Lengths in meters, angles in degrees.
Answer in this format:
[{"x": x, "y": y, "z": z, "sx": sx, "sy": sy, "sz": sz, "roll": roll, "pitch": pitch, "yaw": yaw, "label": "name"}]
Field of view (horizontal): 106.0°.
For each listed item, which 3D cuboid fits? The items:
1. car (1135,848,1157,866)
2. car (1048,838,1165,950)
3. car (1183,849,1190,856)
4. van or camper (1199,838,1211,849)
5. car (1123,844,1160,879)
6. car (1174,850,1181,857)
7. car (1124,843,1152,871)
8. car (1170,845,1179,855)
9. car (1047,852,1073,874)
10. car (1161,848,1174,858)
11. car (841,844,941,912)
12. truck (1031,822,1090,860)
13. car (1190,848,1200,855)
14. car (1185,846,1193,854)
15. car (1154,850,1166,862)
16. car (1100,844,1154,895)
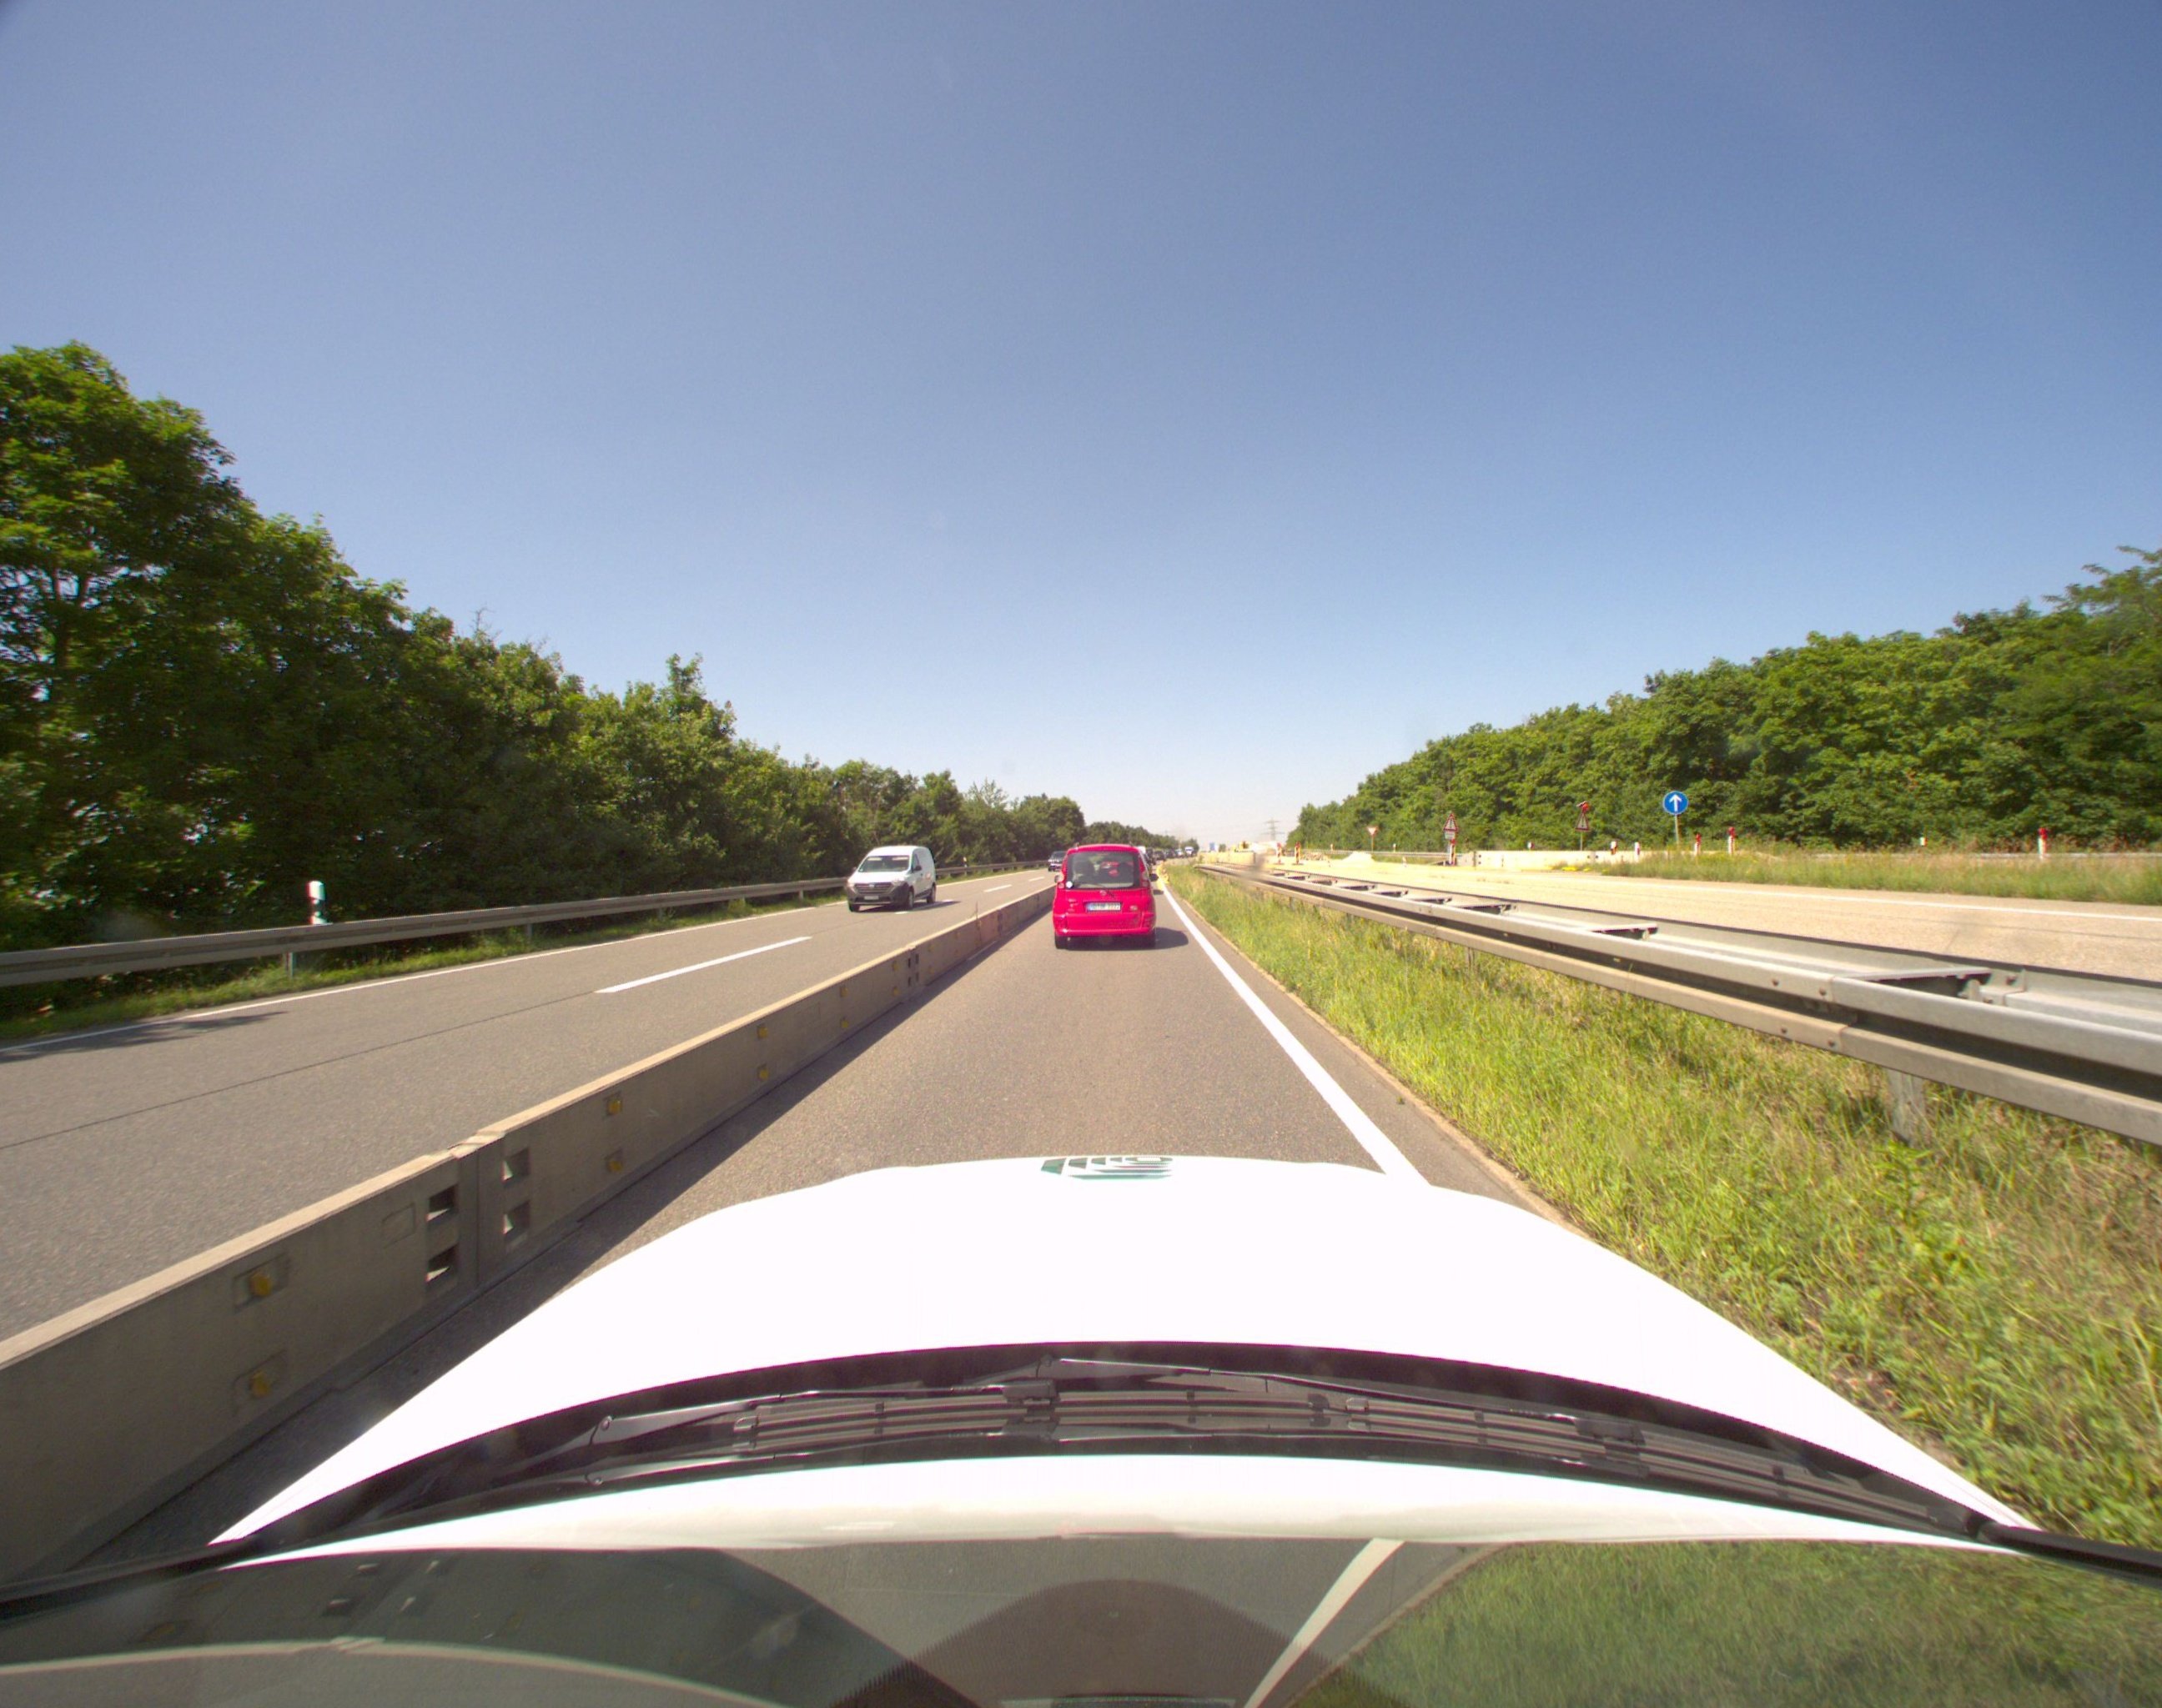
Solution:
[{"x": 6.543, "y": 0.265, "z": 82.303, "sx": 1.985, "sy": 1.750, "sz": 4.003, "roll": -1, "pitch": 0, "yaw": 3, "label": "car"}, {"x": 0.470, "y": 0.612, "z": 14.450, "sx": 1.745, "sy": 1.673, "sz": 4.002, "roll": -1, "pitch": 0, "yaw": 2, "label": "car"}, {"x": 22.711, "y": -0.313, "z": 175.141, "sx": 1.494, "sy": 1.450, "sz": 3.175, "roll": -1, "pitch": 0, "yaw": 6, "label": "car"}, {"x": 31.174, "y": -2.593, "z": 204.651, "sx": 2.319, "sy": 2.707, "sz": 4.595, "roll": -2, "pitch": 0, "yaw": 2, "label": "van or camper"}, {"x": 3.412, "y": 0.395, "z": 46.242, "sx": 1.985, "sy": 1.838, "sz": 4.004, "roll": -1, "pitch": 0, "yaw": 4, "label": "car"}, {"x": 19.008, "y": -0.035, "z": 160.848, "sx": 1.414, "sy": 1.298, "sz": 2.884, "roll": -2, "pitch": 0, "yaw": 6, "label": "car"}, {"x": 4.228, "y": 0.215, "z": 61.209, "sx": 1.986, "sy": 2.003, "sz": 4.002, "roll": -1, "pitch": 0, "yaw": 2, "label": "car"}, {"x": 16.652, "y": -0.672, "z": 145.059, "sx": 1.495, "sy": 1.736, "sz": 3.174, "roll": -3, "pitch": 0, "yaw": 4, "label": "car"}, {"x": -1.693, "y": 0.694, "z": 66.851, "sx": 1.850, "sy": 1.638, "sz": 4.386, "roll": -3, "pitch": 0, "yaw": 2, "label": "car"}, {"x": 13.986, "y": -0.104, "z": 131.701, "sx": 1.983, "sy": 1.585, "sz": 4.009, "roll": -1, "pitch": 0, "yaw": 7, "label": "car"}, {"x": -5.431, "y": 0.621, "z": 23.814, "sx": 1.749, "sy": 1.765, "sz": 4.286, "roll": -2, "pitch": 0, "yaw": 2, "label": "car"}, {"x": -3.157, "y": -2.024, "z": 125.622, "sx": 8.579, "sy": 5.375, "sz": 3.394, "roll": -2, "pitch": 0, "yaw": 5, "label": "truck"}, {"x": 27.883, "y": -0.618, "z": 199.586, "sx": 1.985, "sy": 1.552, "sz": 4.004, "roll": -2, "pitch": 0, "yaw": 4, "label": "car"}, {"x": 29.200, "y": -1.022, "z": 219.878, "sx": 1.983, "sy": 2.013, "sz": 4.008, "roll": -3, "pitch": 0, "yaw": 7, "label": "car"}, {"x": 10.339, "y": 0.255, "z": 106.852, "sx": 1.495, "sy": 1.450, "sz": 3.329, "roll": -1, "pitch": 0, "yaw": 4, "label": "car"}, {"x": 1.727, "y": 0.531, "z": 29.960, "sx": 1.822, "sy": 1.722, "sz": 4.005, "roll": -1, "pitch": 0, "yaw": 4, "label": "car"}]
